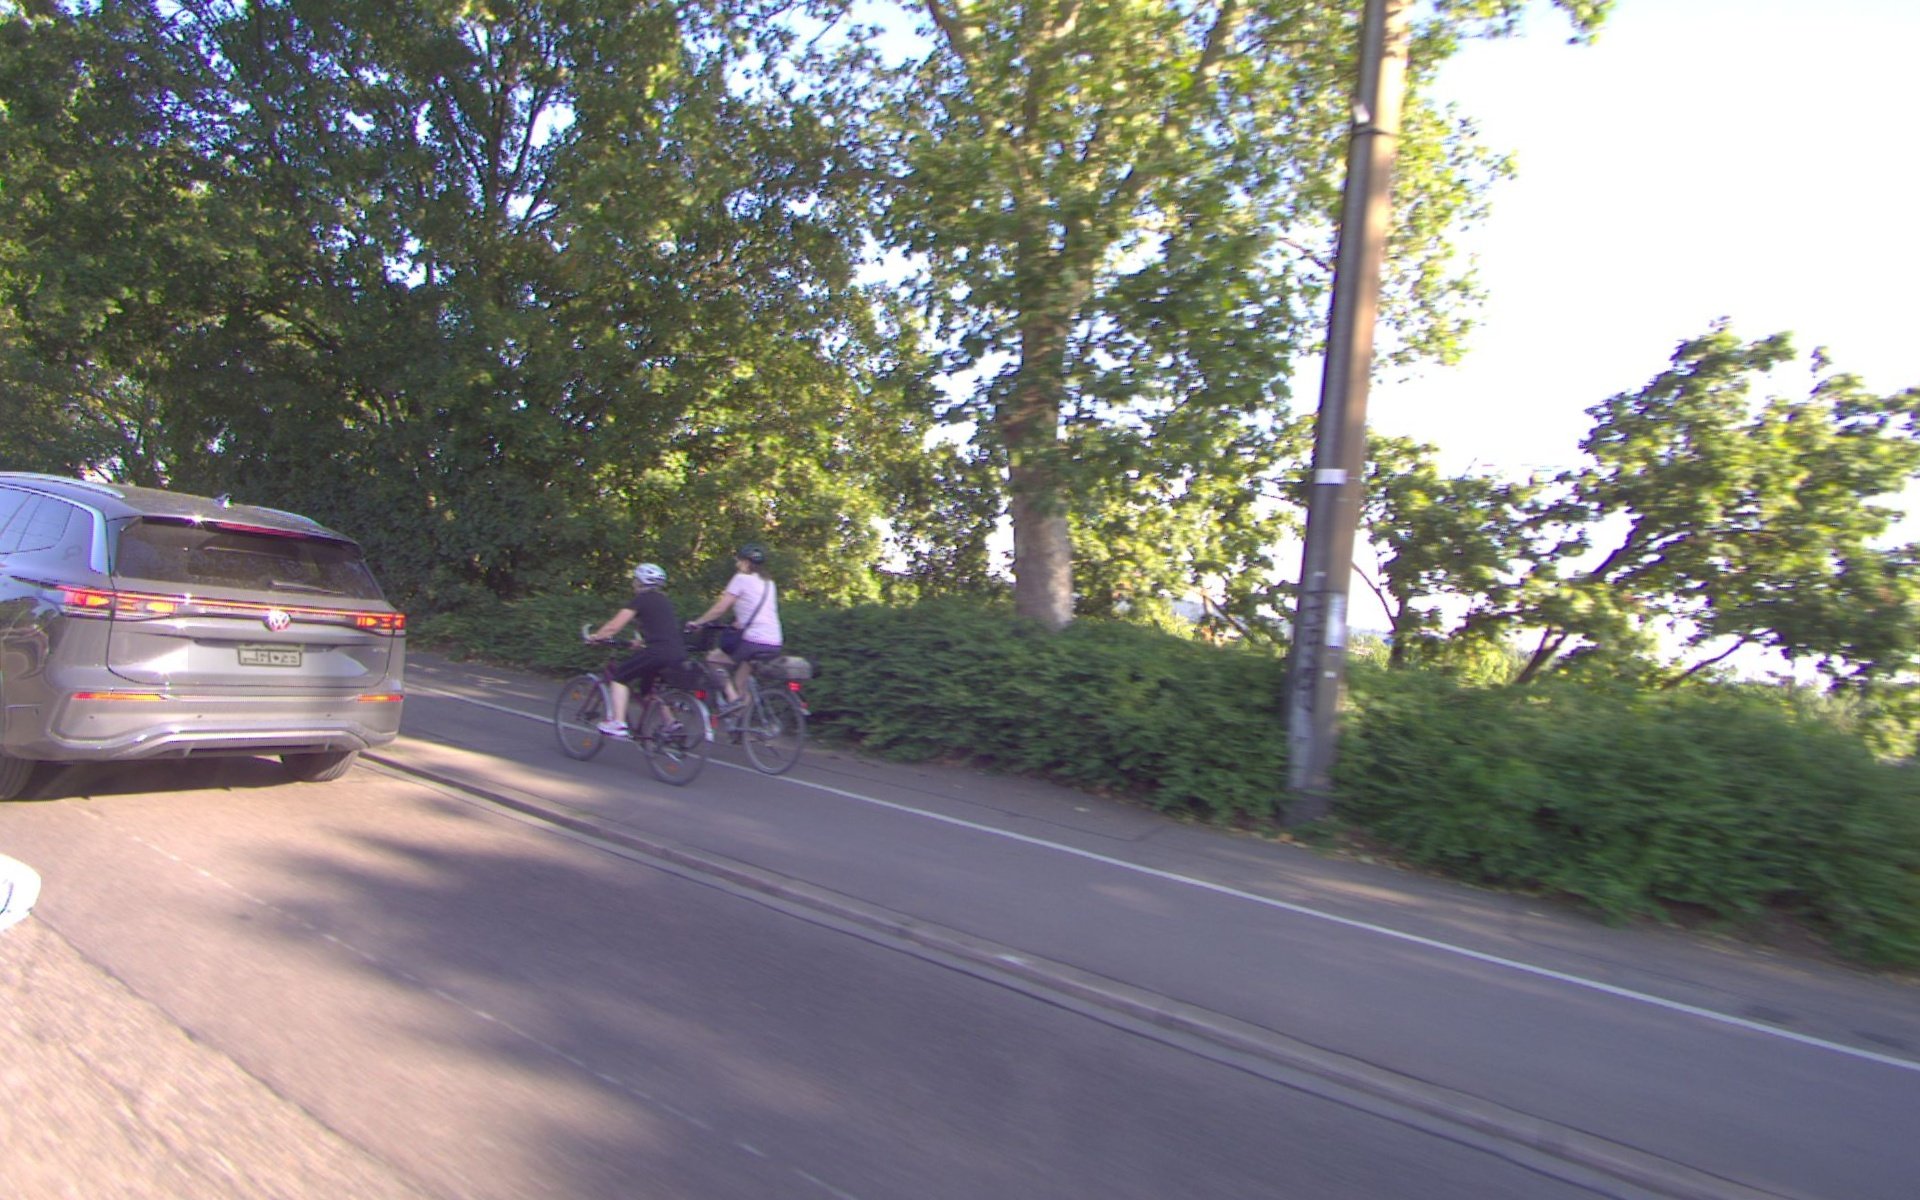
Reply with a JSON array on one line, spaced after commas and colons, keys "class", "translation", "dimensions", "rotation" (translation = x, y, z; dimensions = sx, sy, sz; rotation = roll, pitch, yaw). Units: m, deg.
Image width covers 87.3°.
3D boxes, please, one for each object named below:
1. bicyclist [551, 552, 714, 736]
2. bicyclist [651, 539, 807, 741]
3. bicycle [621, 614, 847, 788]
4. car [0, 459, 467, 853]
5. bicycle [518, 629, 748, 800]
[{"class": "bicyclist", "translation": [-2.473, 0.321, 7.605], "dimensions": [0.876, 1.241, 0.642], "rotation": [7, 1, 31]}, {"class": "bicyclist", "translation": [-1.916, 0.328, 8.376], "dimensions": [0.876, 1.527, 0.686], "rotation": [7, 0, 31]}, {"class": "bicycle", "translation": [-1.895, 0.796, 8.340], "dimensions": [1.782, 1.134, 0.623], "rotation": [7, 0, 31]}, {"class": "car", "translation": [-5.304, 0.138, 6.222], "dimensions": [4.366, 1.680, 1.848], "rotation": [6, -2, 31]}, {"class": "bicycle", "translation": [-2.487, 0.813, 7.575], "dimensions": [1.758, 0.986, 0.566], "rotation": [6, 1, 31]}]
